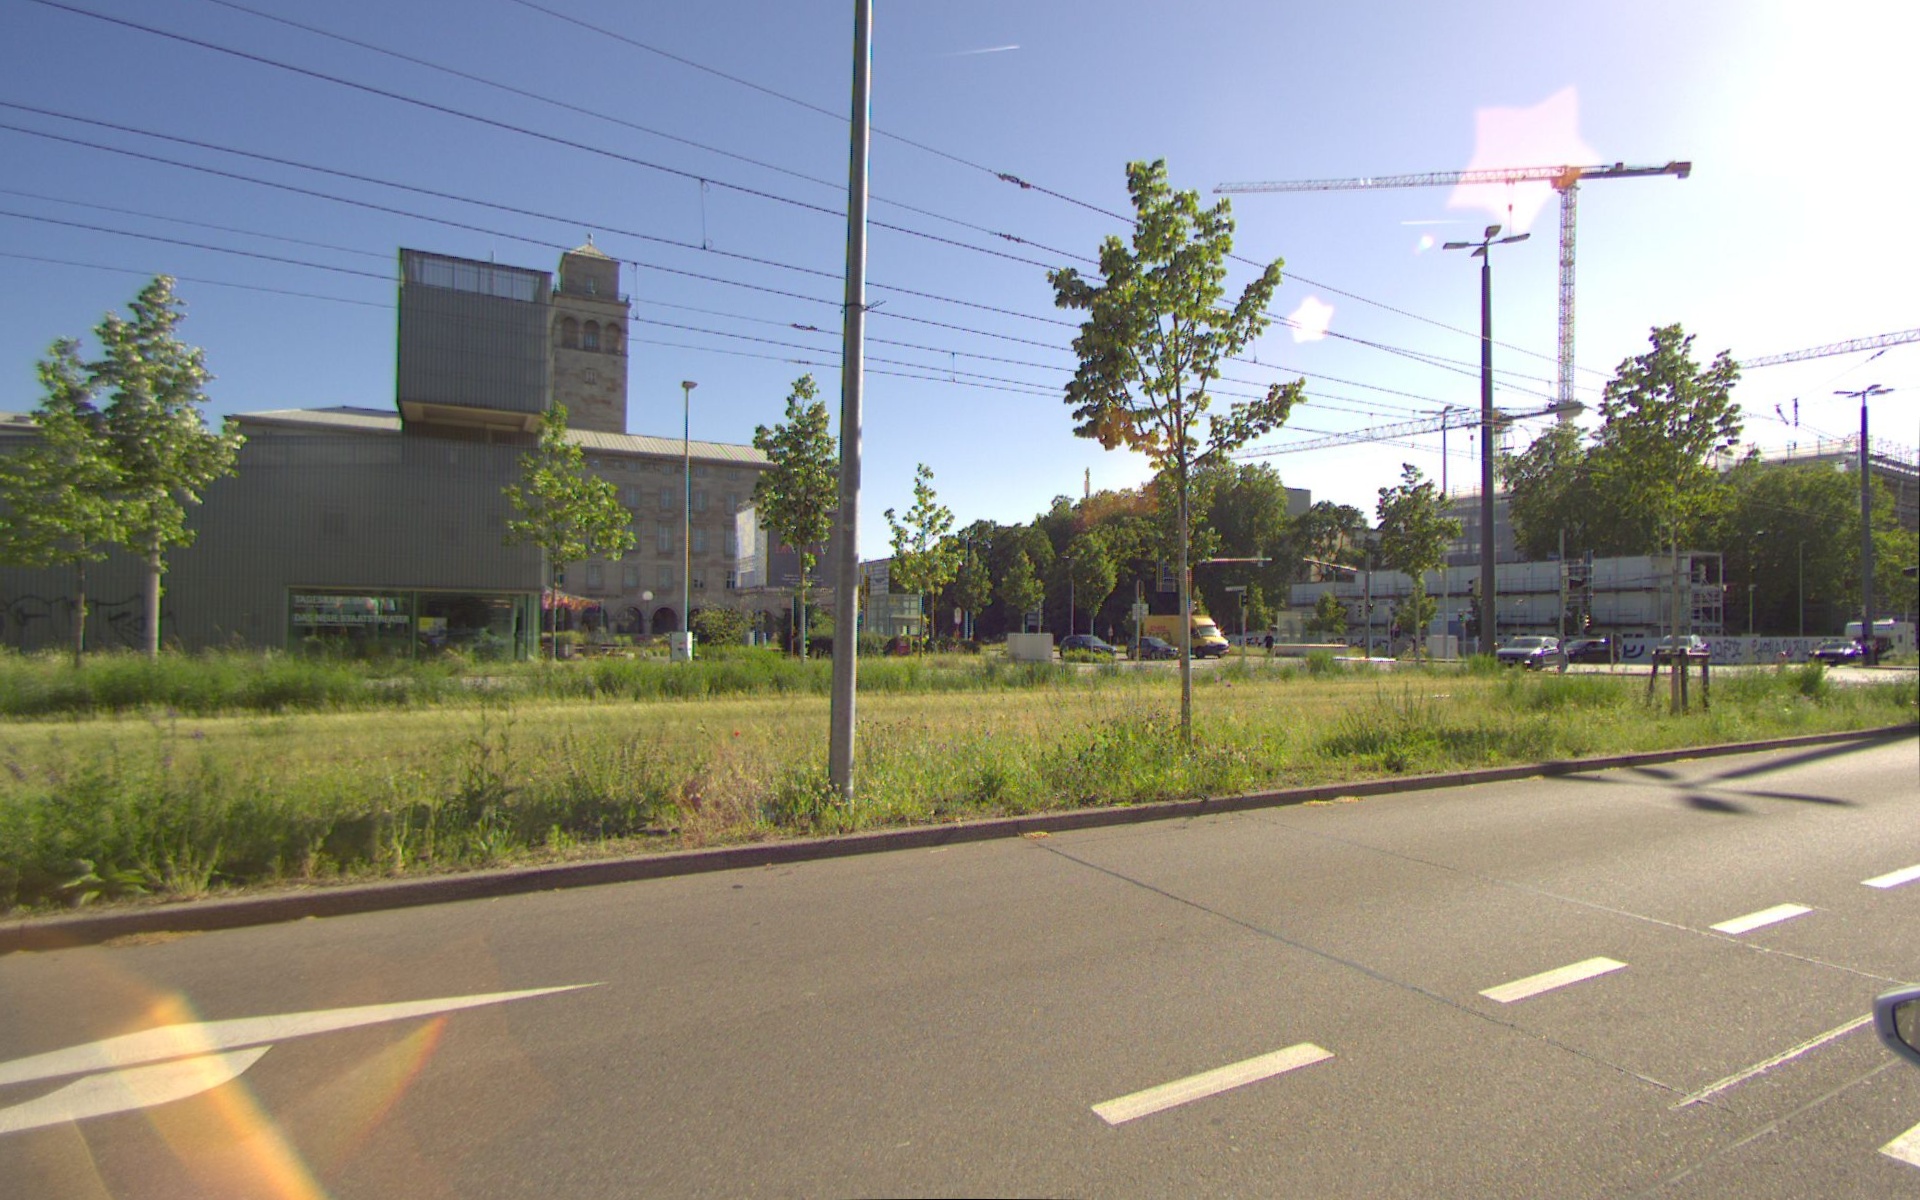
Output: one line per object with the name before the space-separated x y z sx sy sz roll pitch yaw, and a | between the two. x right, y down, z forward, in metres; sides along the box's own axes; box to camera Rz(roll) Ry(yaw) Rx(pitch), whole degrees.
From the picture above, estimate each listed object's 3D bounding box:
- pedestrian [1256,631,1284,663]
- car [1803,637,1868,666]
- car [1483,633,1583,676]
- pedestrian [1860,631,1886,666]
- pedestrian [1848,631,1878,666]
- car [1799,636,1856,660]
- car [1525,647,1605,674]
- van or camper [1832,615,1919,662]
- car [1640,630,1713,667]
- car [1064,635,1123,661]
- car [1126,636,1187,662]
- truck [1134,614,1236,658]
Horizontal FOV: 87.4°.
pedestrian | 17.474 2.644 56.656 0.936 1.708 1.186 0 0 -30
car | 54.886 3.232 62.974 4.319 1.730 1.935 2 -2 -32
car | 24.122 2.269 42.260 4.040 1.711 1.819 1 -2 -28
pedestrian | 48.825 2.603 53.706 0.966 1.847 0.795 1 -2 -33
pedestrian | 47.492 2.537 52.820 0.864 1.847 0.803 0 -1 2
car | 63.760 3.505 73.833 4.511 1.730 1.982 2 -2 -33
car | 37.860 3.754 62.901 3.928 1.622 1.997 1 -2 -10
van or camper | 61.632 2.601 67.516 7.261 2.976 2.591 2 -2 -32
car | 39.647 2.654 55.544 3.954 1.981 1.861 1 -2 -31
car | 8.312 2.970 62.850 1.878 1.559 3.976 1 -2 -25
car | 12.618 3.141 64.766 1.878 1.559 3.976 1 -2 -25
truck | 15.146 2.423 68.224 2.429 2.829 7.985 1 -2 -25
